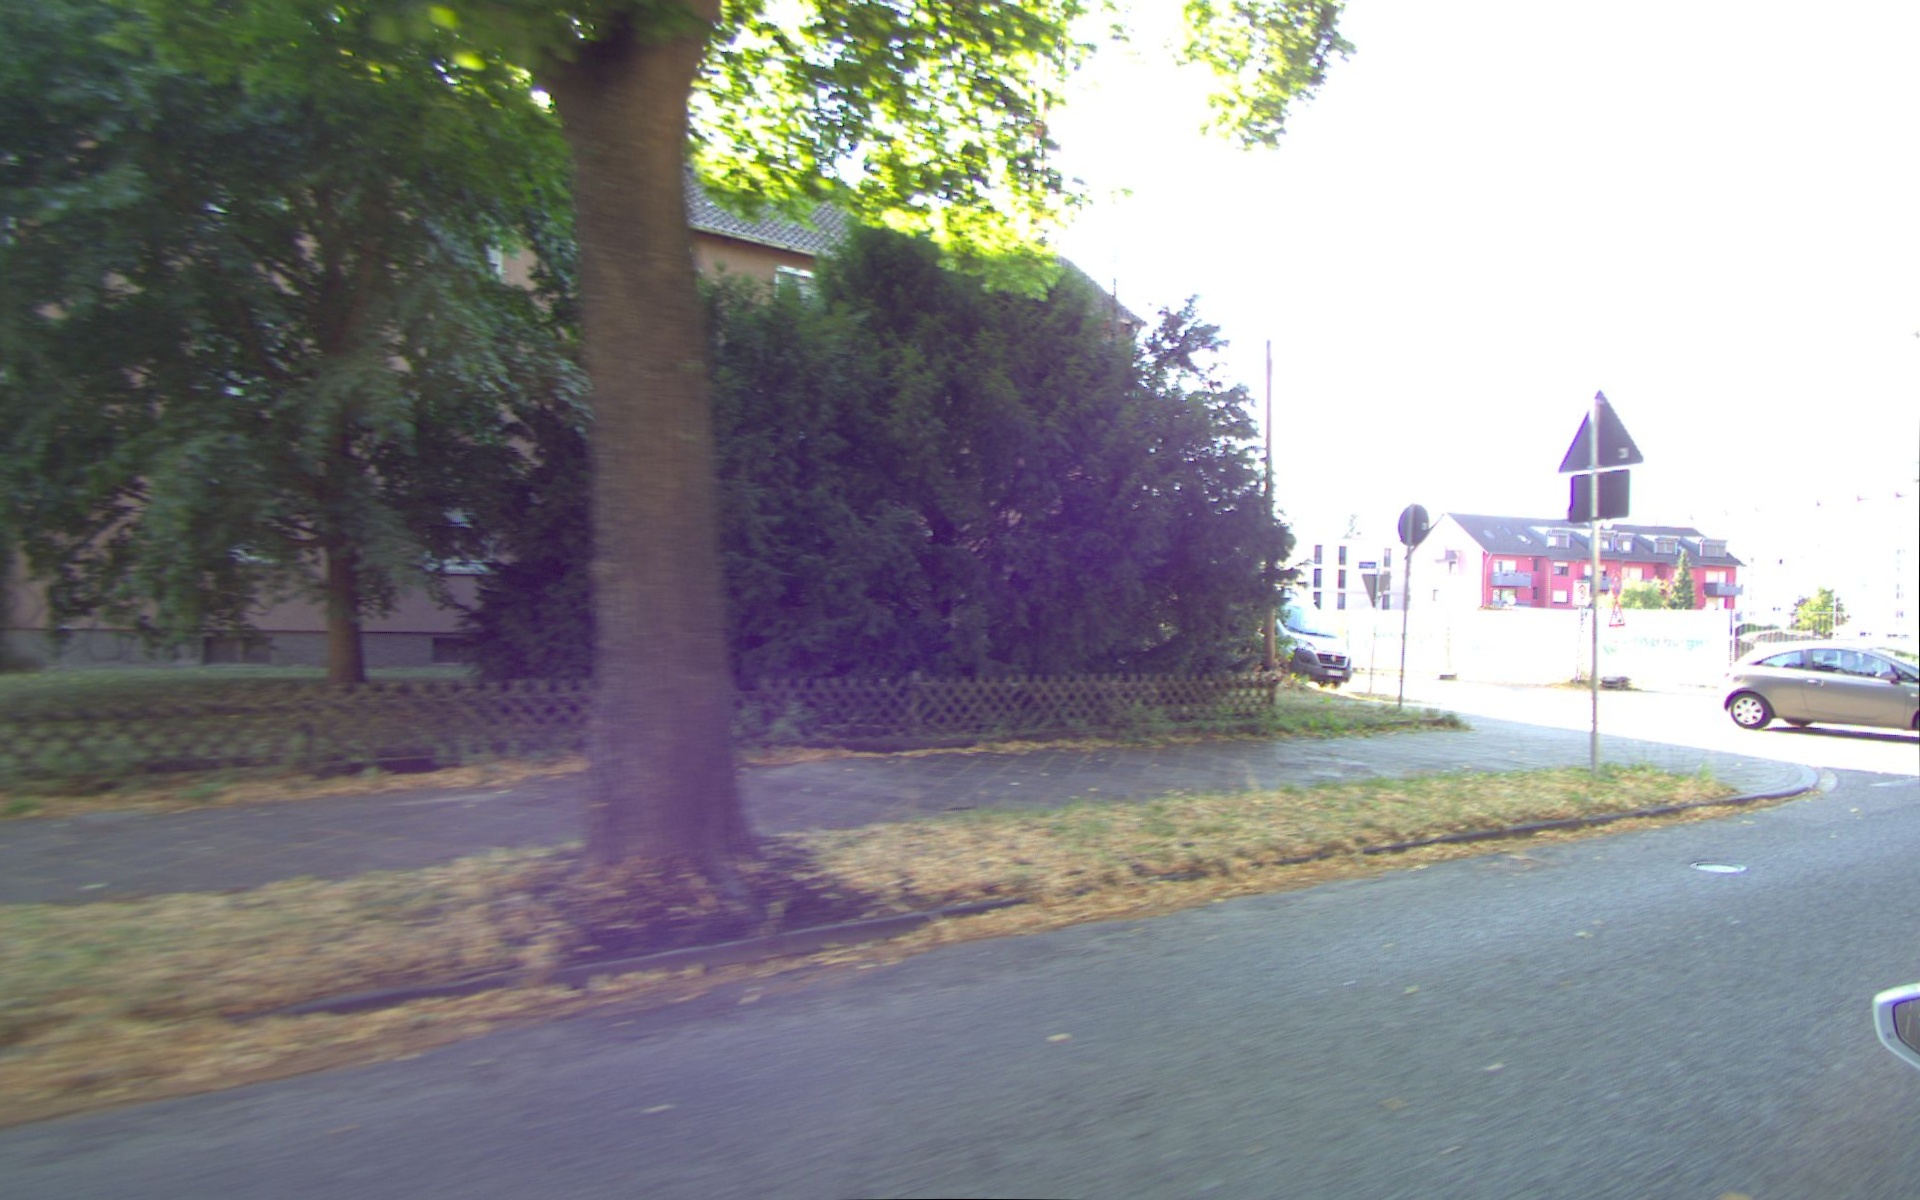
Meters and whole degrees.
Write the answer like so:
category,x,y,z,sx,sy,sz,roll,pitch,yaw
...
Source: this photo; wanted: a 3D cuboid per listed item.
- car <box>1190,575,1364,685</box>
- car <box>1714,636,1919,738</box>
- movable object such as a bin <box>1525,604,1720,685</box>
category,x,y,z,sx,sy,sz,roll,pitch,yaw
car,7.902,0.751,25.708,2.129,2.500,5.317,1,-1,-8
car,14.390,1.325,15.704,1.630,1.492,3.831,2,-3,-27
movable object such as a bin,43.235,2.950,65.711,11.346,5.058,3.017,1,-3,-7
